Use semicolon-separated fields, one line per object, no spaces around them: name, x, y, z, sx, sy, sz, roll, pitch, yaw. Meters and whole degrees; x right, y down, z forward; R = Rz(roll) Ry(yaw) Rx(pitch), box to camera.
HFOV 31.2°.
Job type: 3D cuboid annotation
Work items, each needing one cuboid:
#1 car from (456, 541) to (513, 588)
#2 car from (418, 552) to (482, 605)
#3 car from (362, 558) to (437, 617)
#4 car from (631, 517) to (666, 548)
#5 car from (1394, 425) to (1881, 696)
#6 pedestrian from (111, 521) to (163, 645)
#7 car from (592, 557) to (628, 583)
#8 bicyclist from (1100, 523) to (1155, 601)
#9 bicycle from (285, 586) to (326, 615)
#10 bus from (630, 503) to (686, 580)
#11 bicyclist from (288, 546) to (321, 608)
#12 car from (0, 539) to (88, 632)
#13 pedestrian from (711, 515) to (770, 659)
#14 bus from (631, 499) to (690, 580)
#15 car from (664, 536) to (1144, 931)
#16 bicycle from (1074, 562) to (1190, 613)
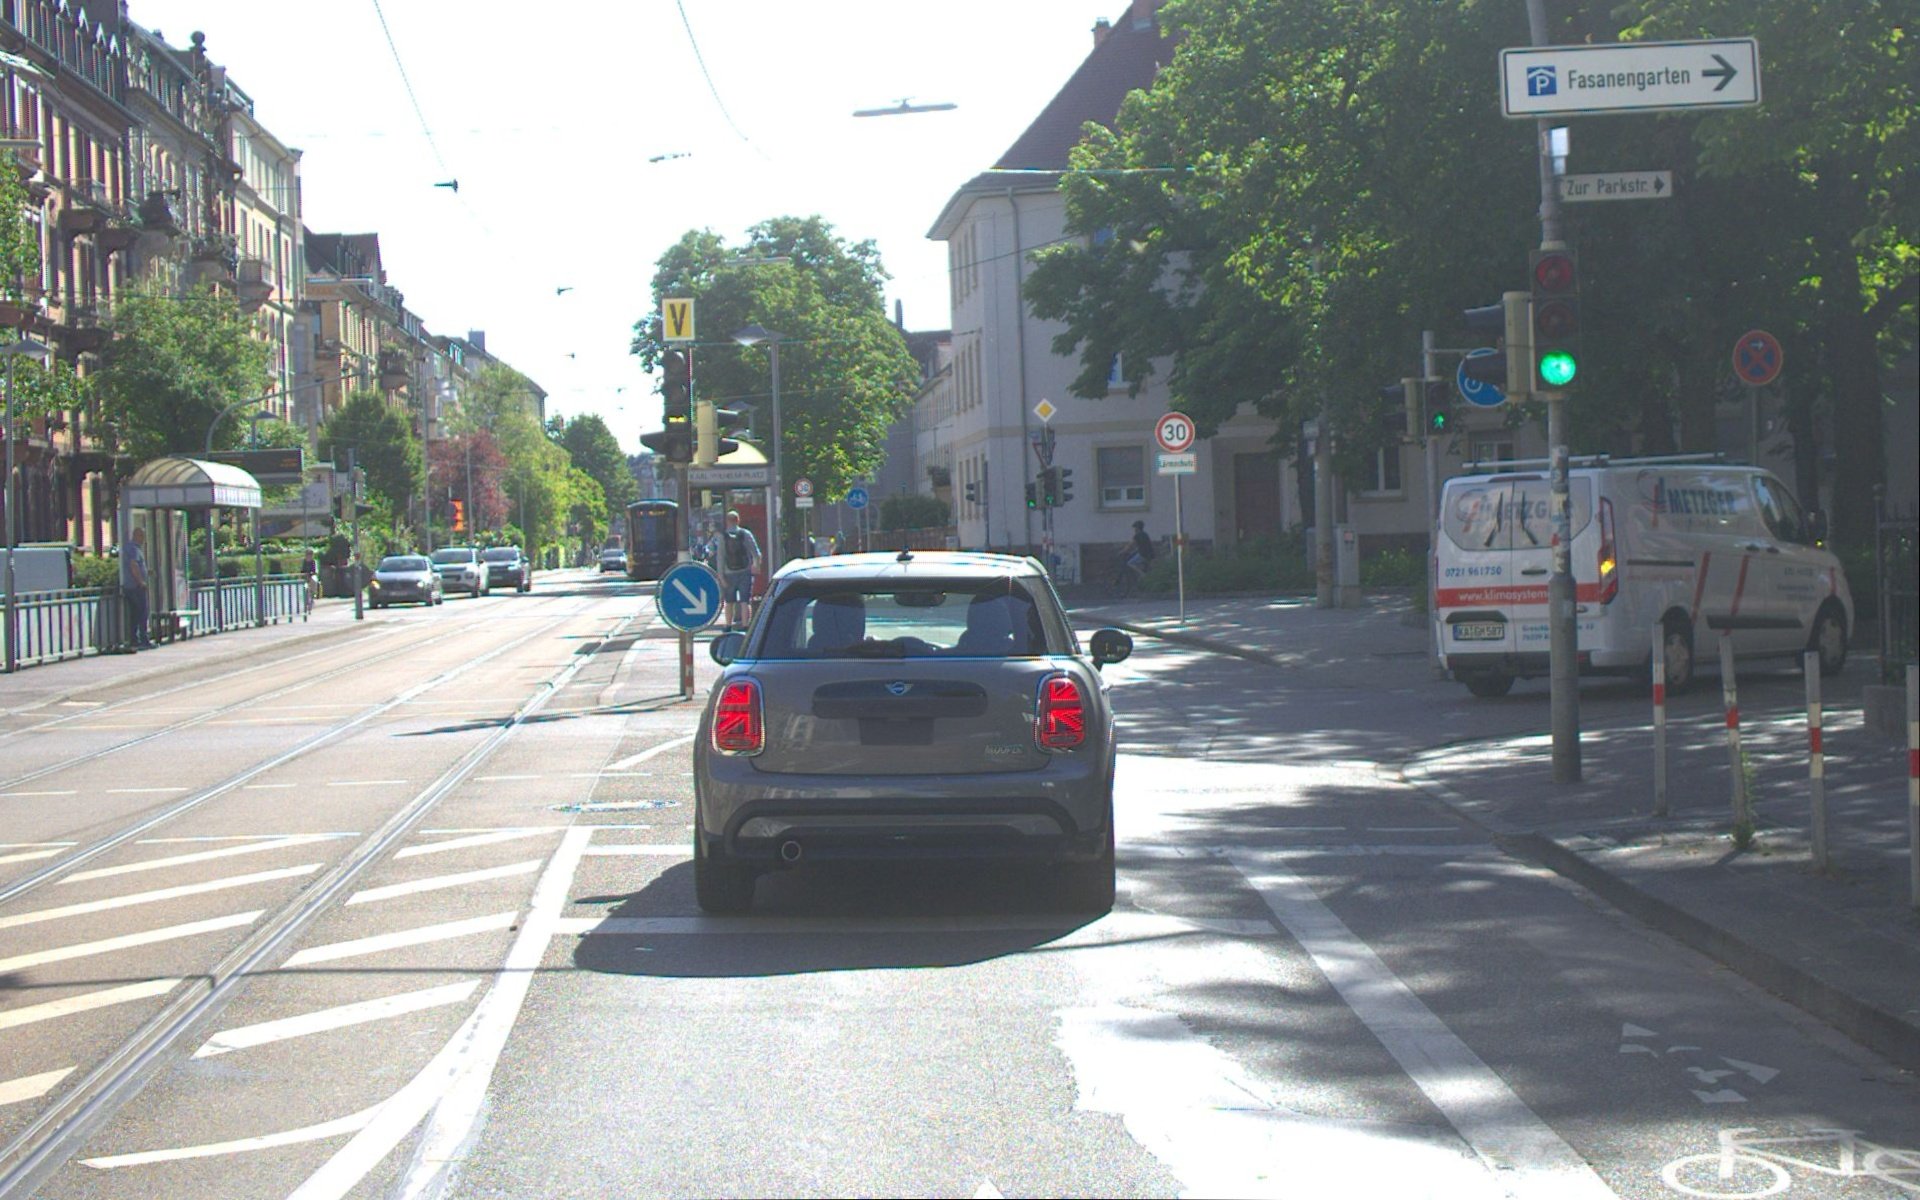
car;-16.653;-1.229;120.515;1.775;1.612;4.001;-1;0;-5
car;-16.092;-0.680;108.625;1.775;1.612;4.001;-1;0;-5
car;-15.802;-0.361;97.058;1.775;1.612;4.001;-1;0;-5
car;-16.820;-3.636;185.423;1.863;1.558;4.001;-1;0;-5
car;6.090;-0.349;30.472;2.123;2.201;4.933;0;1;40
pedestrian;-12.130;-0.258;50.697;0.606;1.789;0.579;-2;1;-5
car;-22.327;-1.899;219.273;1.993;1.590;4.000;-1;0;-2
bicyclist;3.909;-0.887;80.166;1.057;1.805;0.819;-1;0;19
bicycle;-17.625;0.016;92.585;0.719;0.747;1.916;-1;0;0
bus;-14.074;-2.675;159.945;2.385;3.484;7.386;-1;0;-6
bicyclist;-17.620;-0.620;92.458;0.713;1.660;0.734;-1;0;0
car;-21.852;-0.308;75.386;1.998;2.007;5.017;0;1;42
pedestrian;-3.101;-0.183;48.651;0.795;2.007;0.740;-1;0;-3
bus;-13.319;-2.635;152.578;2.385;3.484;7.386;-1;0;-6
car;-0.283;0.492;15.113;1.815;1.483;4.000;-1;0;-2
bicycle;4.008;-0.301;80.119;2.533;1.152;0.844;-1;0;19
